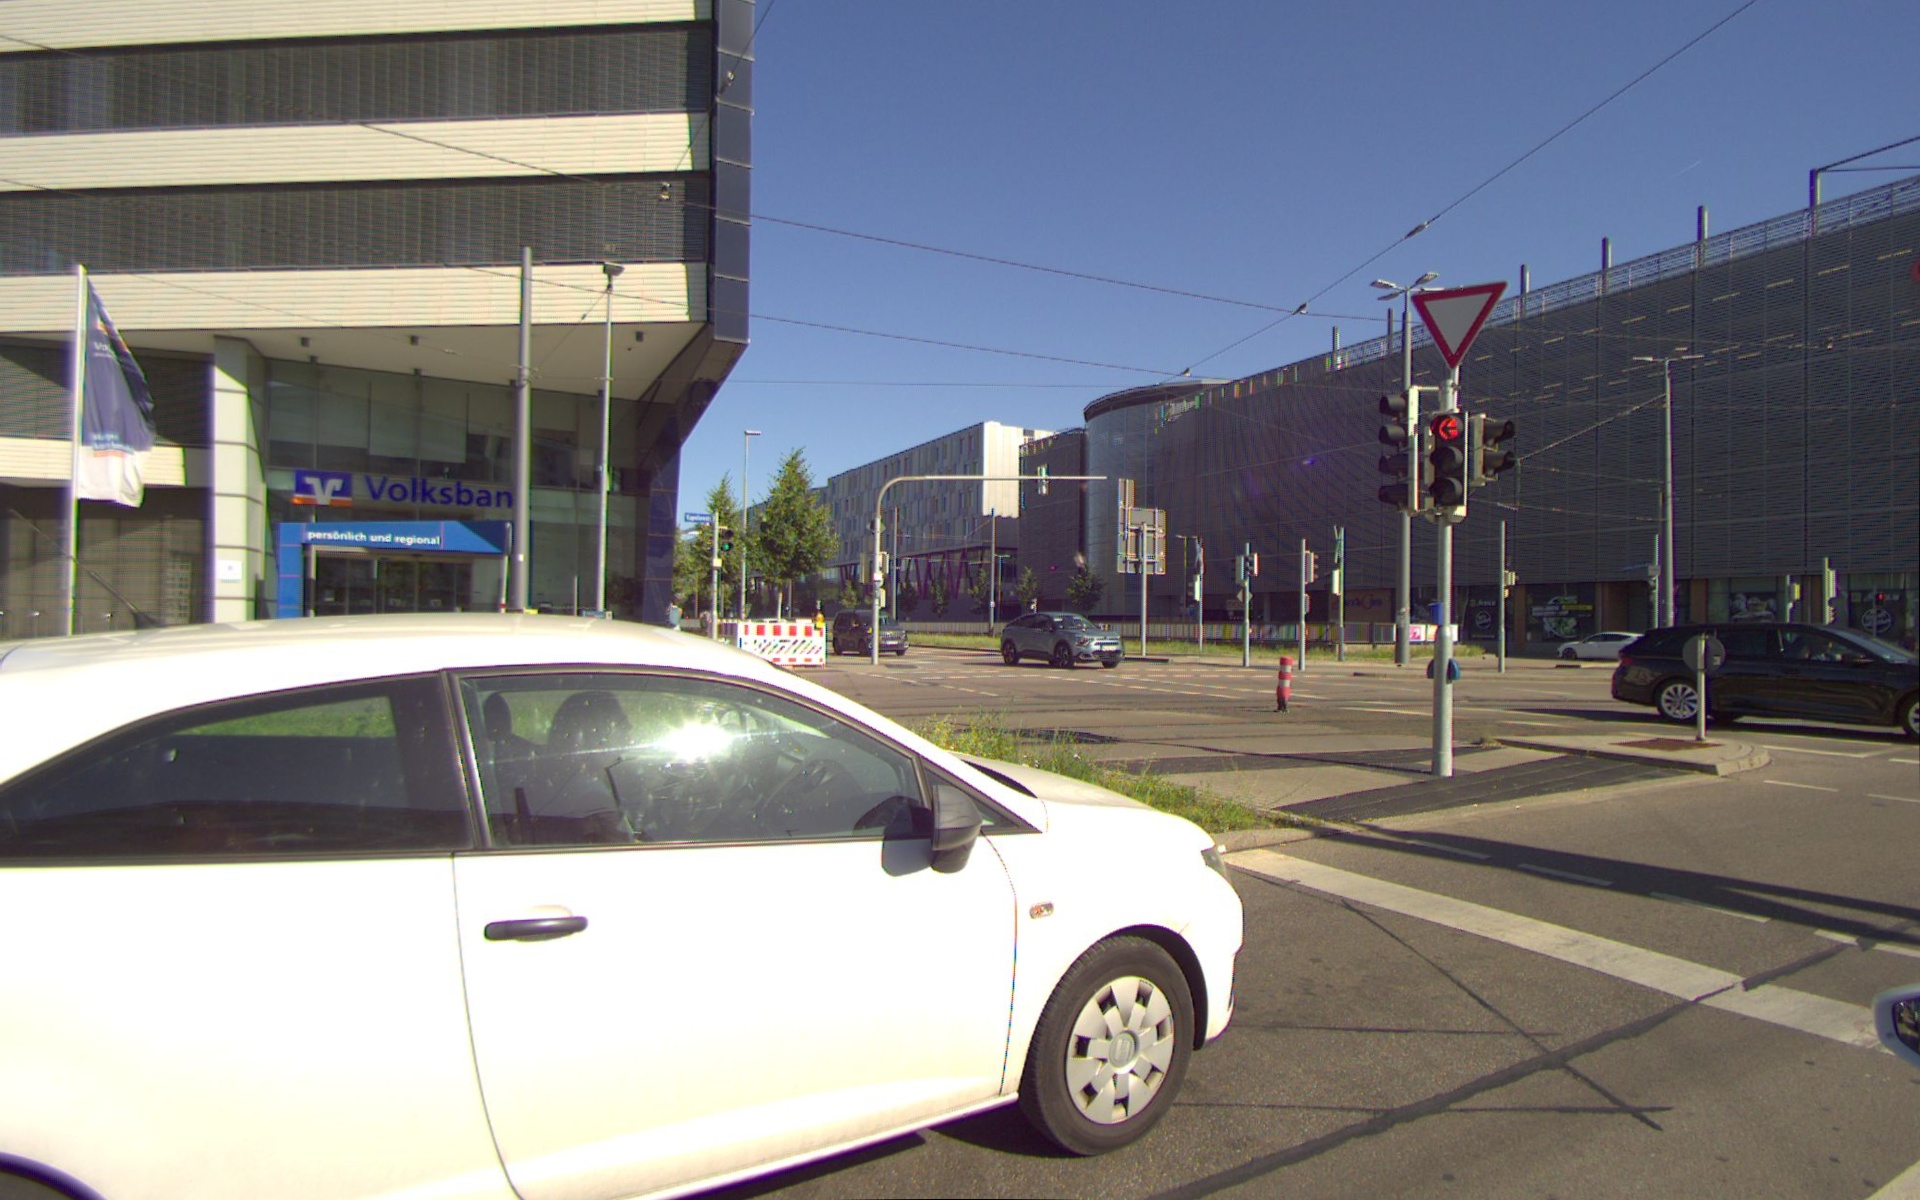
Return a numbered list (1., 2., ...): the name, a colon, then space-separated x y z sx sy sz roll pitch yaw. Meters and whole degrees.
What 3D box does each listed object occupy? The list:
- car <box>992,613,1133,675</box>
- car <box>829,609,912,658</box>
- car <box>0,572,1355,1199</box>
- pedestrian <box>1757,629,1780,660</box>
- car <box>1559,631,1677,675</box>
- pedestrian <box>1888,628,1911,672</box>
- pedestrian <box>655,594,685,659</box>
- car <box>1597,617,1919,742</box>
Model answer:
1. car: 2.773 1.165 28.157 1.690 1.534 4.241 1 0 -32
2. car: -3.600 1.284 39.756 1.688 1.815 4.440 1 -1 -28
3. car: -0.955 0.738 2.795 3.977 1.460 1.723 2 1 -31
4. pedestrian: 42.419 2.336 52.697 0.584 1.622 0.661 2 0 -11
5. car: 31.135 2.479 47.663 1.819 1.666 4.268 2 2 -30
6. pedestrian: 39.971 2.126 42.733 0.687 1.821 0.726 -2 -3 44
7. pedestrian: -7.852 0.731 27.194 0.729 1.719 0.805 0 -2 -20
8. car: 11.570 0.987 13.639 1.812 1.481 4.645 1 -1 -31
